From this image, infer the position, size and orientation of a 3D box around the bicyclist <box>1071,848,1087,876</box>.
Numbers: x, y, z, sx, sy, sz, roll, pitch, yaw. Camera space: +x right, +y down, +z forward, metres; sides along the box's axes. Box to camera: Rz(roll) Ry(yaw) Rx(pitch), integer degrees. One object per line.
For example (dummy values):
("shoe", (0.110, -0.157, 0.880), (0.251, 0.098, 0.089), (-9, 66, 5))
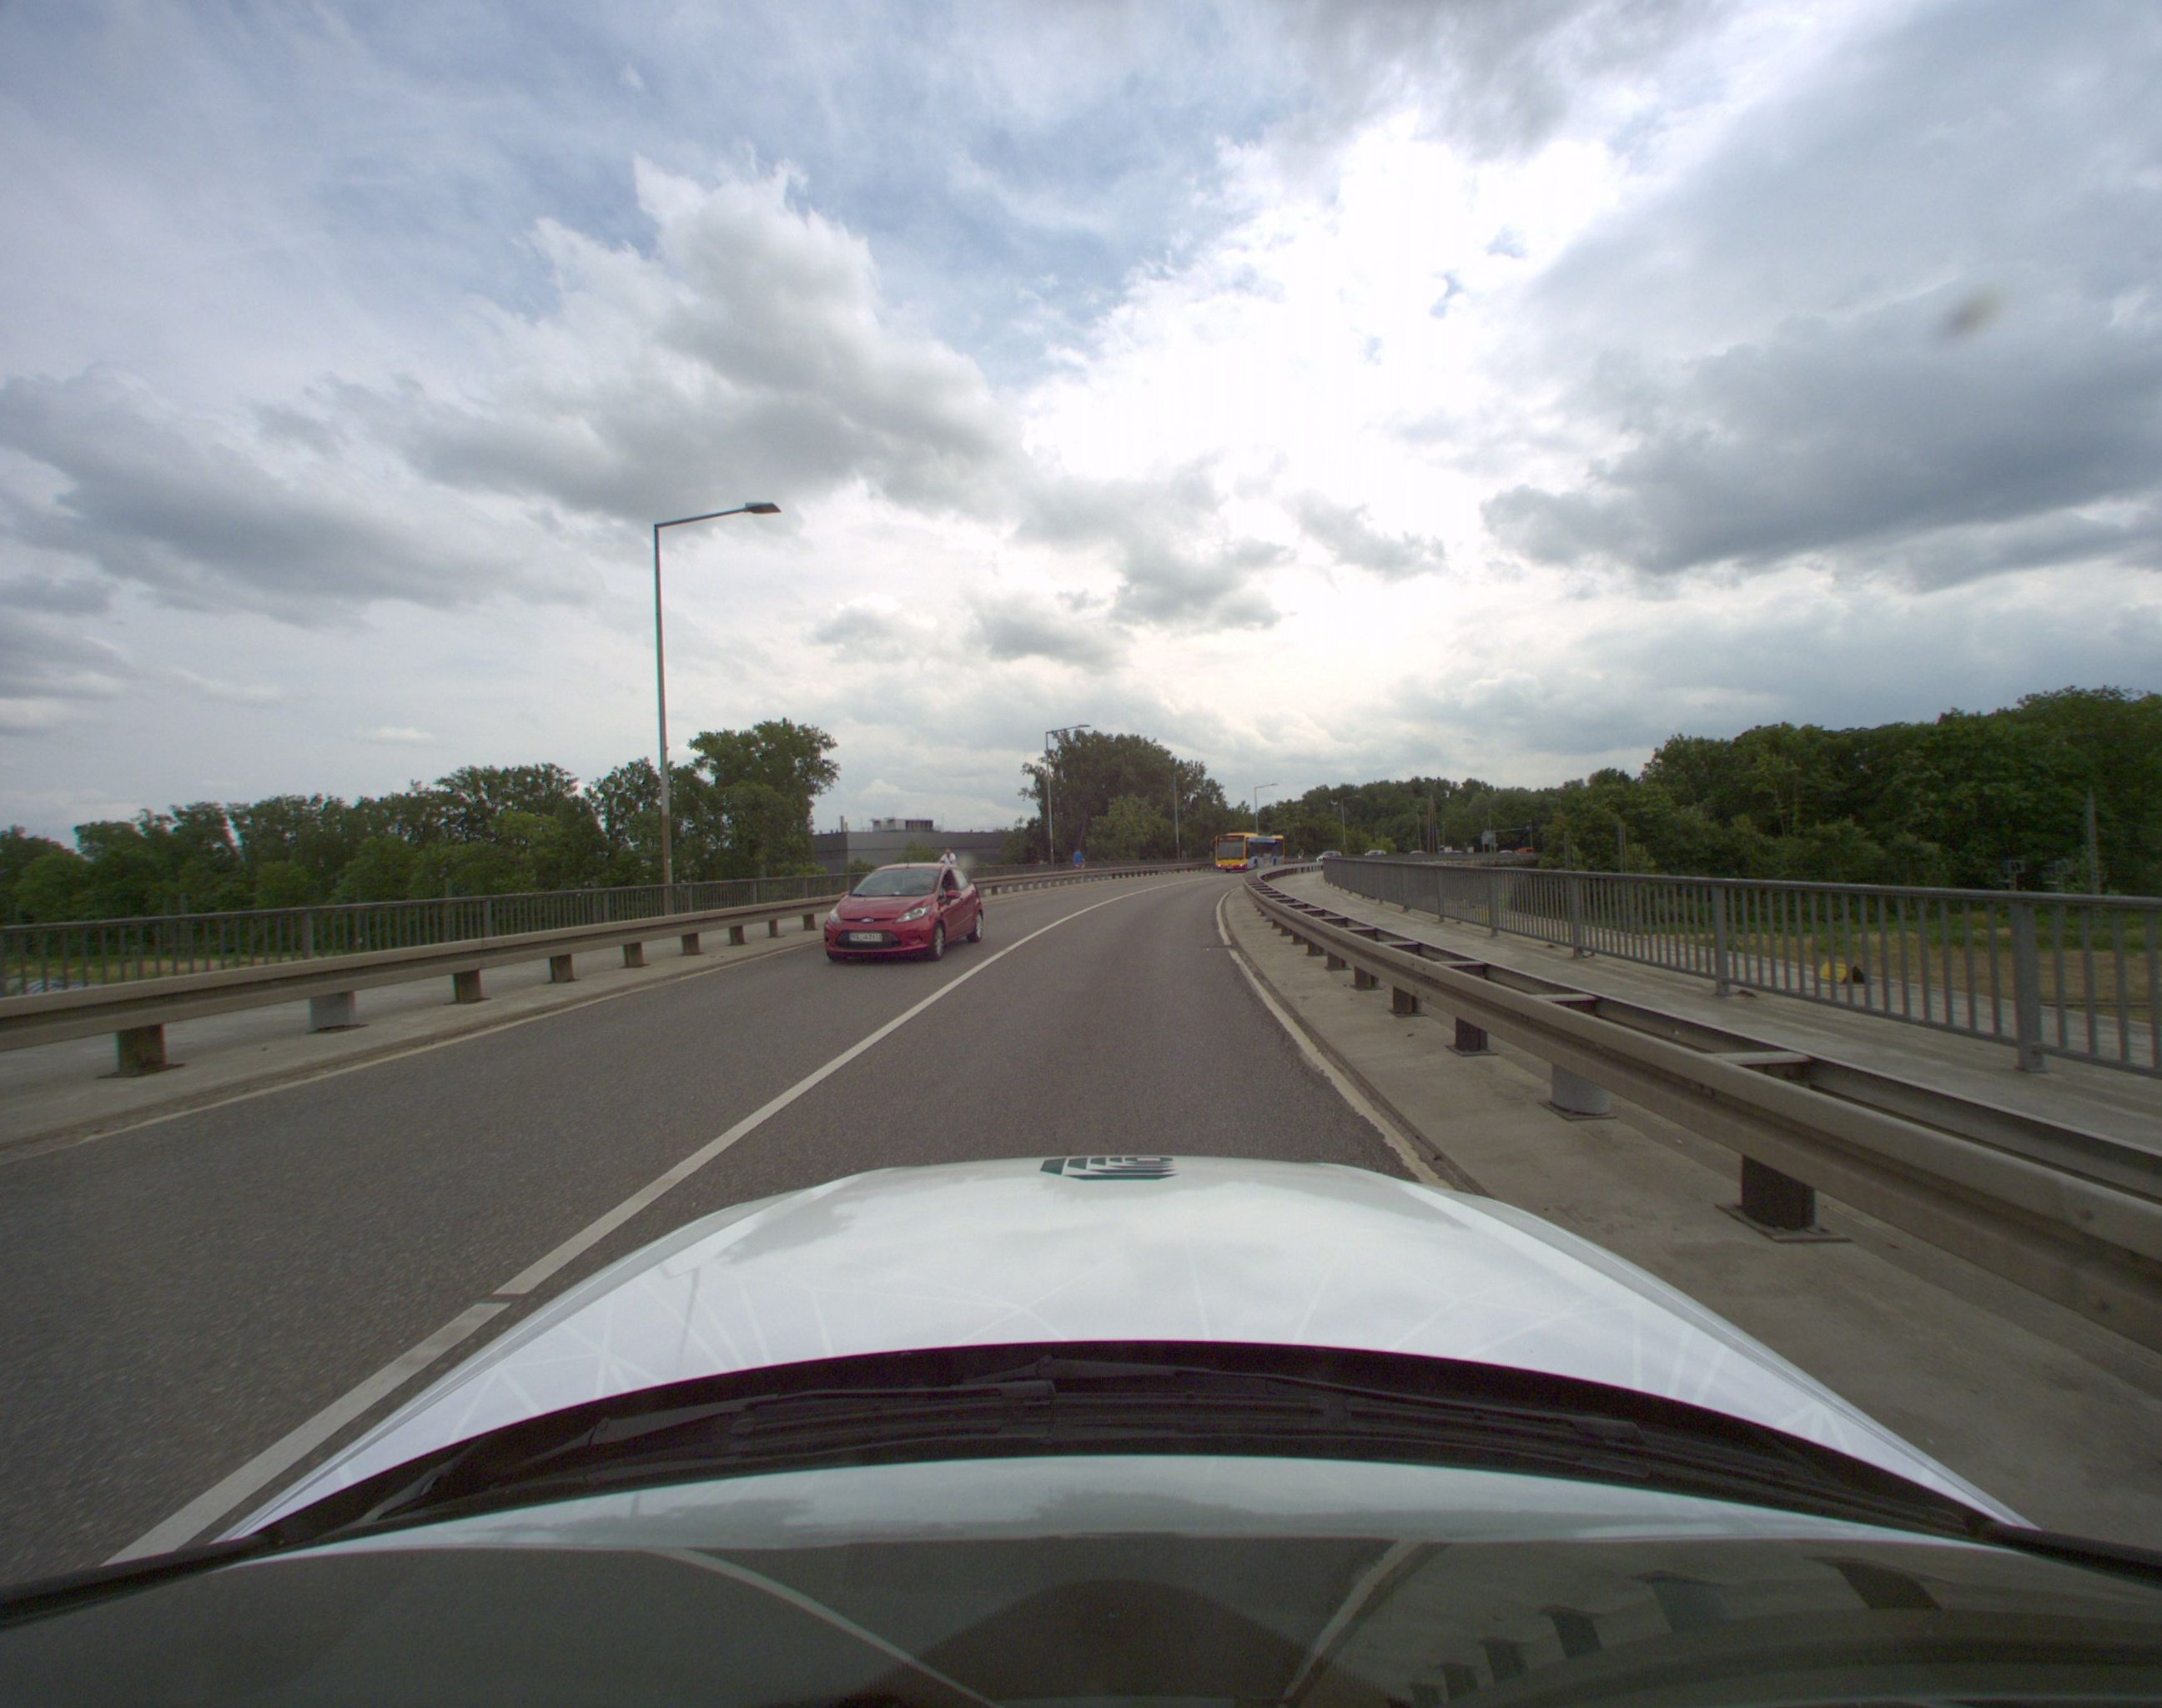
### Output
("bicyclist", (-0.110, 0.473, 45.457), (0.604, 1.540, 0.761), (-1, -1, 25))

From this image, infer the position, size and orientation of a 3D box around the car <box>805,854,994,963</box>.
("car", (-2.733, 0.783, 13.250), (1.750, 1.492, 4.007), (-1, -1, 7))

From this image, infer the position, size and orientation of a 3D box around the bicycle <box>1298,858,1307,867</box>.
("bicycle", (25.966, 0.984, 95.550), (0.639, 1.067, 1.772), (-1, -1, 27))

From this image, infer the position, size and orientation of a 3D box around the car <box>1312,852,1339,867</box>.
("car", (27.321, 0.645, 91.007), (1.800, 1.620, 4.425), (-1, -1, 31))

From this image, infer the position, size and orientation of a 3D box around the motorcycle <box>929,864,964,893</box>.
("motorcycle", (-4.714, 0.853, 28.668), (0.622, 0.963, 1.845), (-1, -1, 10))

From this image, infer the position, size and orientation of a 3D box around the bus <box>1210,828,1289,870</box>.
("bus", (14.417, -0.335, 68.566), (3.003, 3.233, 13.028), (-1, -1, 28))

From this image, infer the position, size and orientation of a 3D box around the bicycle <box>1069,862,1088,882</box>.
("bicycle", (-0.128, 0.999, 45.471), (0.488, 1.045, 1.819), (-1, -1, 20))

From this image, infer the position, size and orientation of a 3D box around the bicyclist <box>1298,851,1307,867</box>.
("bicyclist", (25.955, 0.614, 95.496), (0.840, 1.808, 0.801), (-1, -1, 27))

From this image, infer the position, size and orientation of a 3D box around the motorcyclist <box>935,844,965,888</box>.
("motorcyclist", (-4.615, 0.436, 28.784), (0.805, 1.529, 0.826), (-1, -1, 9))
